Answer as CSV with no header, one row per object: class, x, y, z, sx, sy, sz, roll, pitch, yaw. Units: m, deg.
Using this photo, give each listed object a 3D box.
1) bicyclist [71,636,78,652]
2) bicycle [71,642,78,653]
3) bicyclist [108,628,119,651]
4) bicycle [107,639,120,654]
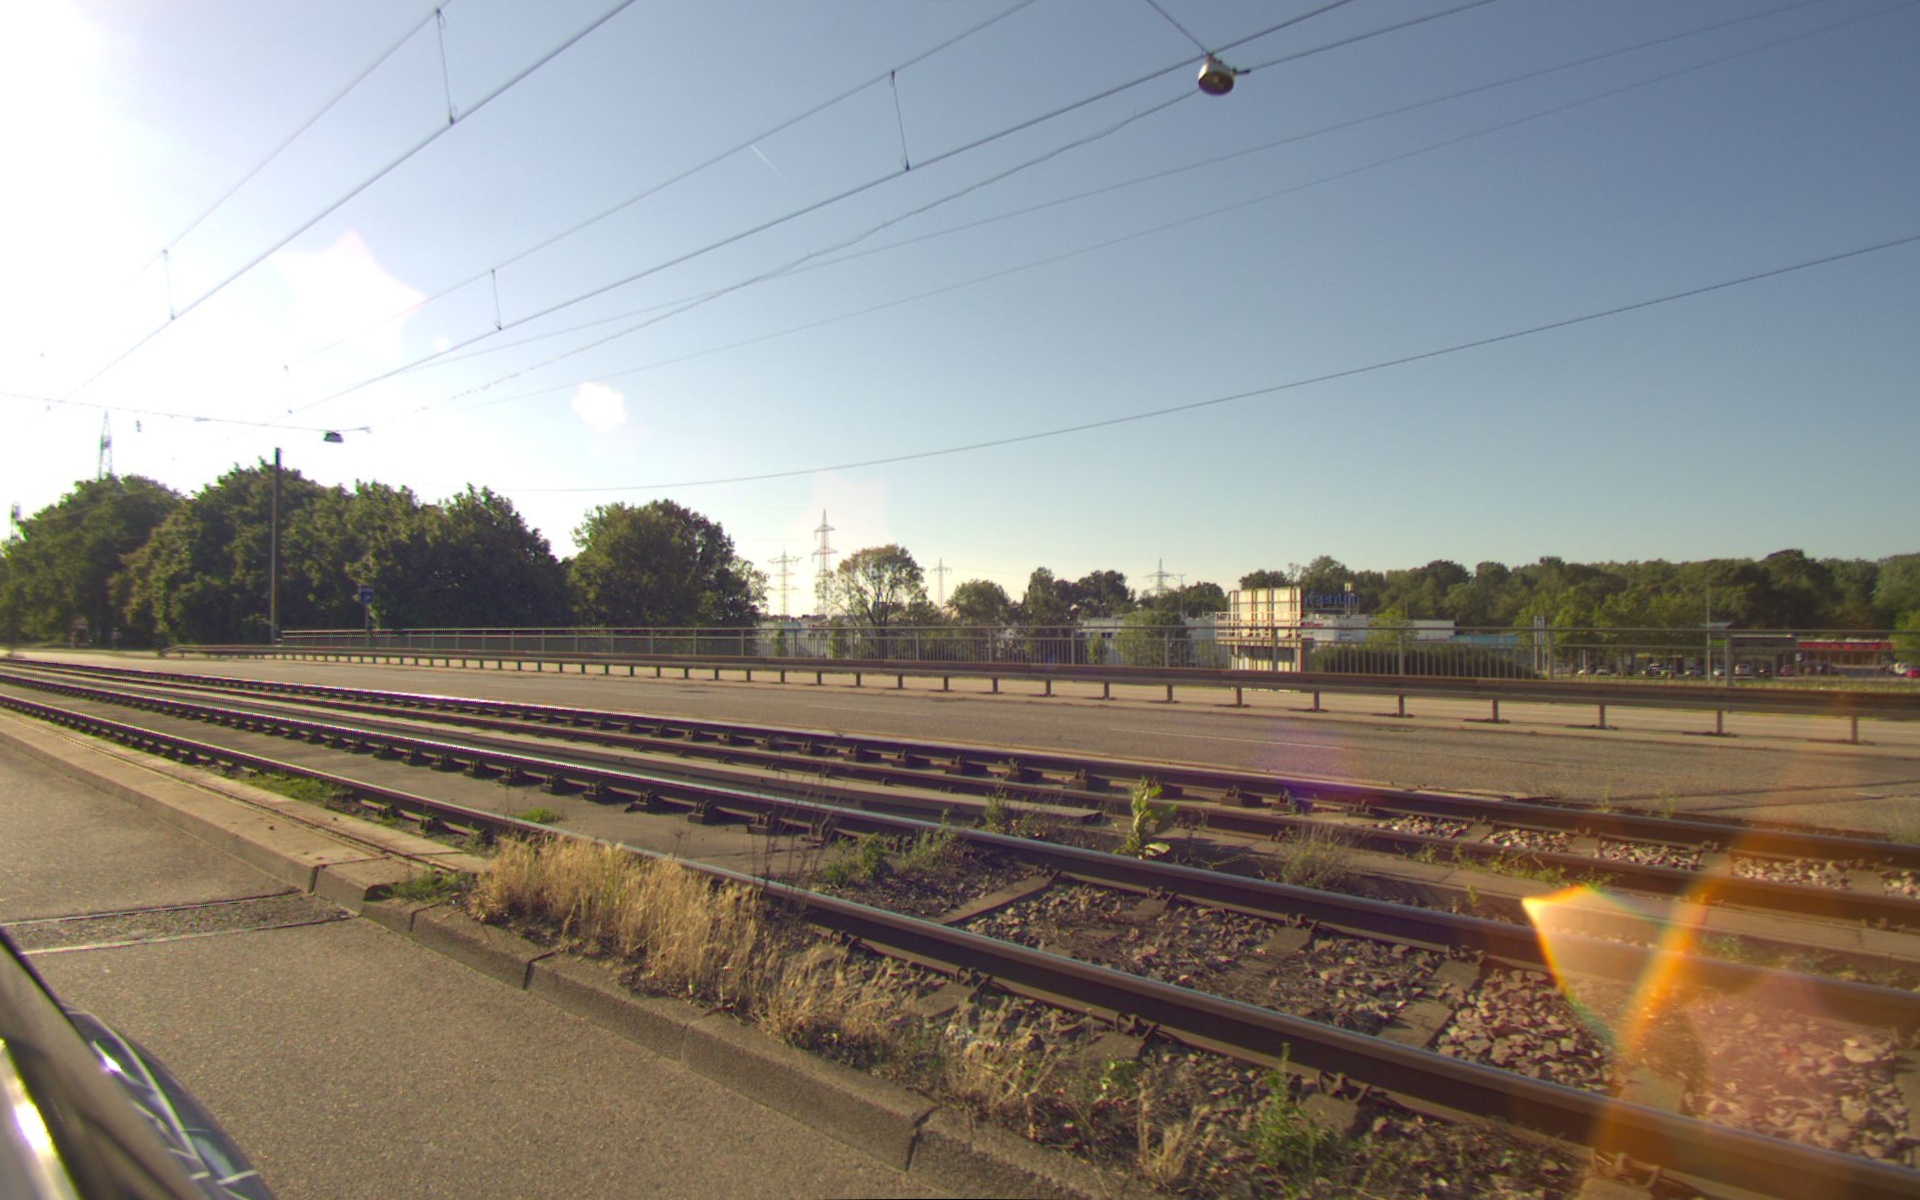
bicyclist,-79.998,3.944,91.434,0.417,1.439,0.755,0,-1,-44
bicycle,-80.064,4.274,91.493,0.420,0.971,1.914,0,-1,-44
bicyclist,-65.798,3.037,78.629,0.832,1.764,0.492,-1,-1,39
bicycle,-65.744,3.599,78.592,1.726,1.060,0.499,-1,-1,40
